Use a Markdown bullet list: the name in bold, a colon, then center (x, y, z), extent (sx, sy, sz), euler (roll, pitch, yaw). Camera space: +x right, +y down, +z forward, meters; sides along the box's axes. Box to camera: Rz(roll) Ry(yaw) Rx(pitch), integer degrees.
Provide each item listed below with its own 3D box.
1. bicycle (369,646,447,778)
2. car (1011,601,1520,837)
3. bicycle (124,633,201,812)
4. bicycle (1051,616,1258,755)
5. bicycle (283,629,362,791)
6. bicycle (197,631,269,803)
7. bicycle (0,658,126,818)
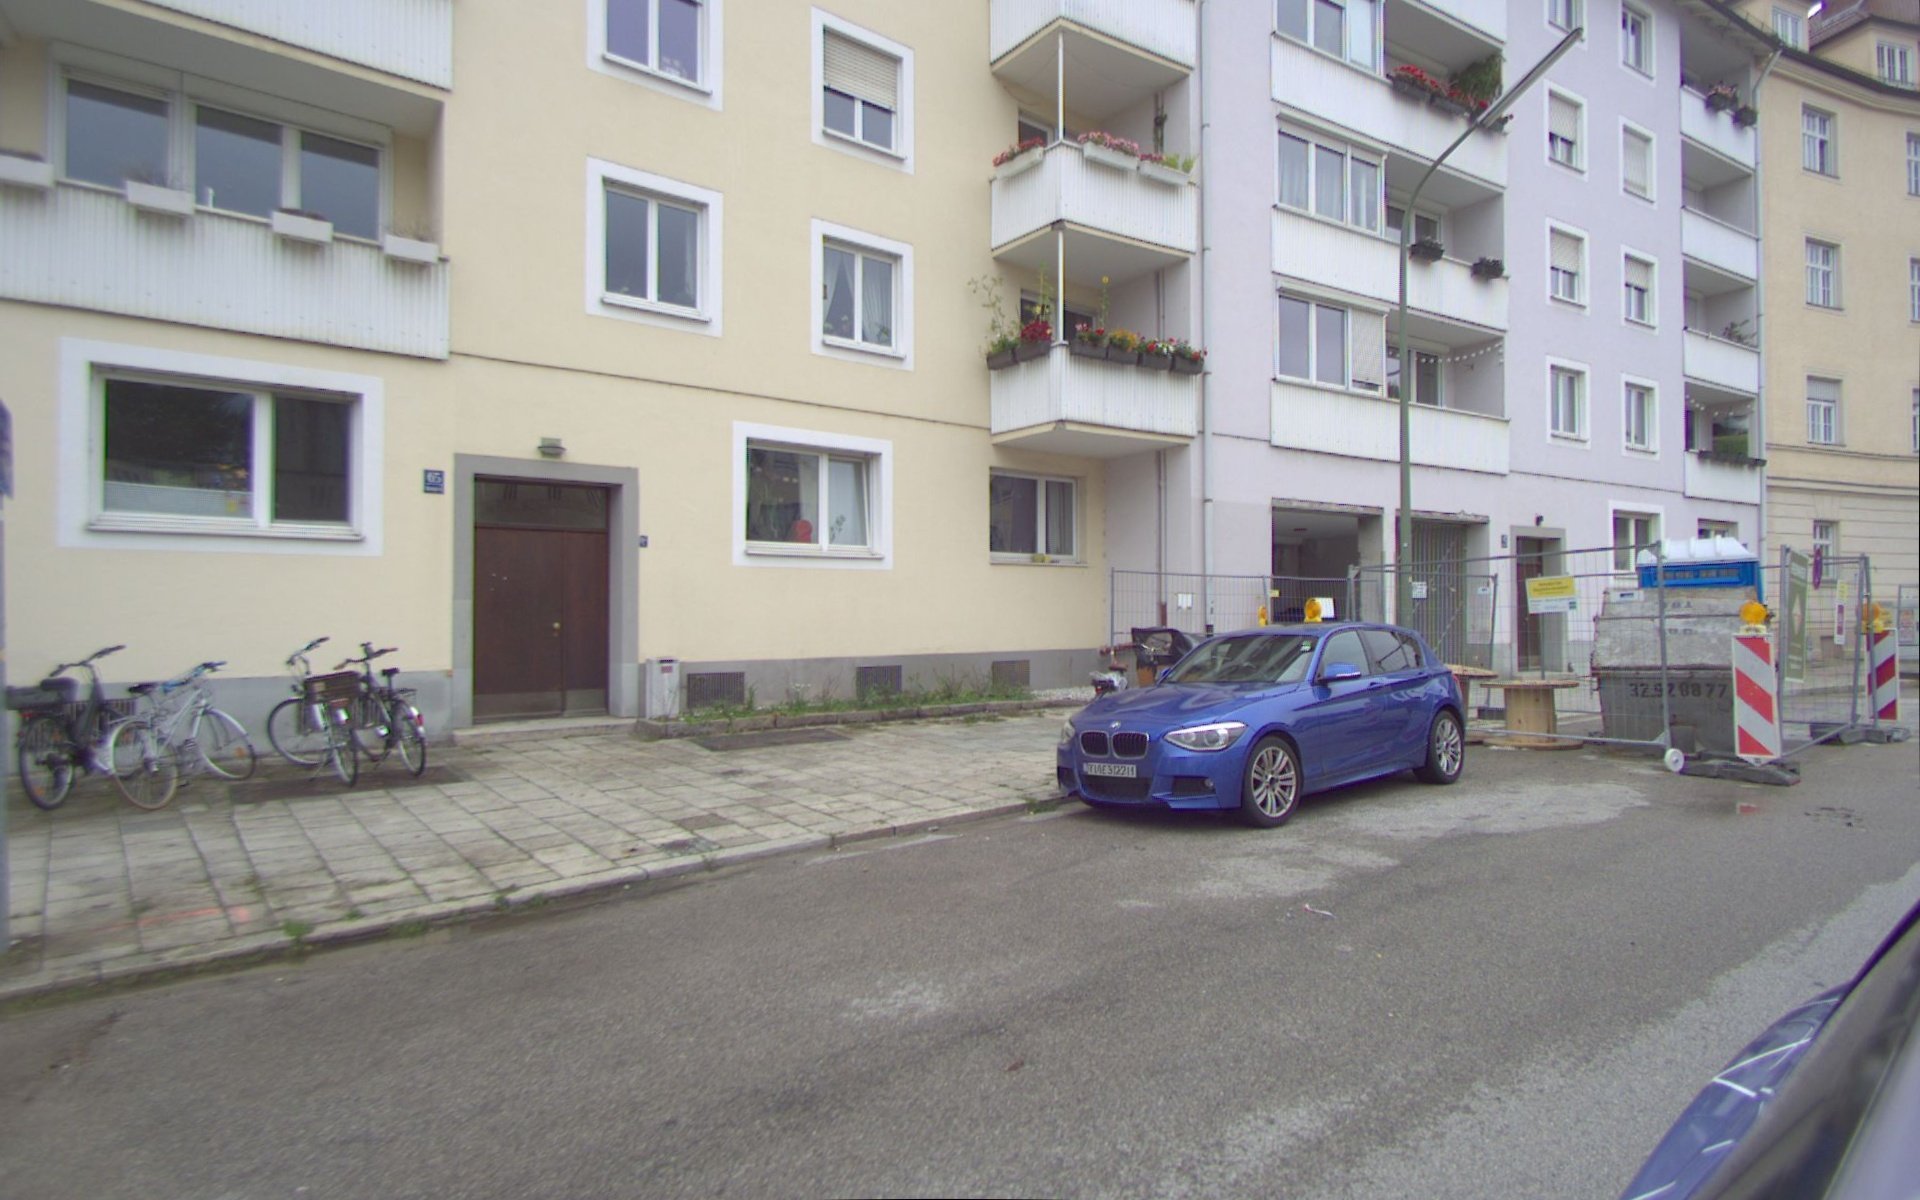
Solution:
- **bicycle**: center (-5.119, 0.981, 9.346), extent (0.361, 1.049, 1.704), euler (1, -1, -37)
- **car**: center (2.727, 0.798, 8.444), extent (4.545, 1.461, 1.833), euler (1, -3, -40)
- **bicycle**: center (-6.372, 0.908, 8.118), extent (0.424, 1.237, 1.704), euler (1, -1, -37)
- **bicycle**: center (2.261, 0.887, 11.444), extent (2.727, 1.339, 0.811), euler (0, 1, -42)
- **bicycle**: center (-5.618, 0.901, 8.883), extent (0.424, 1.237, 1.704), euler (1, -1, -37)
- **bicycle**: center (-6.039, 0.901, 8.380), extent (0.424, 1.237, 1.704), euler (1, -1, -37)
- **bicycle**: center (-6.940, 1.006, 7.800), extent (0.471, 1.002, 1.508), euler (1, 1, -27)
